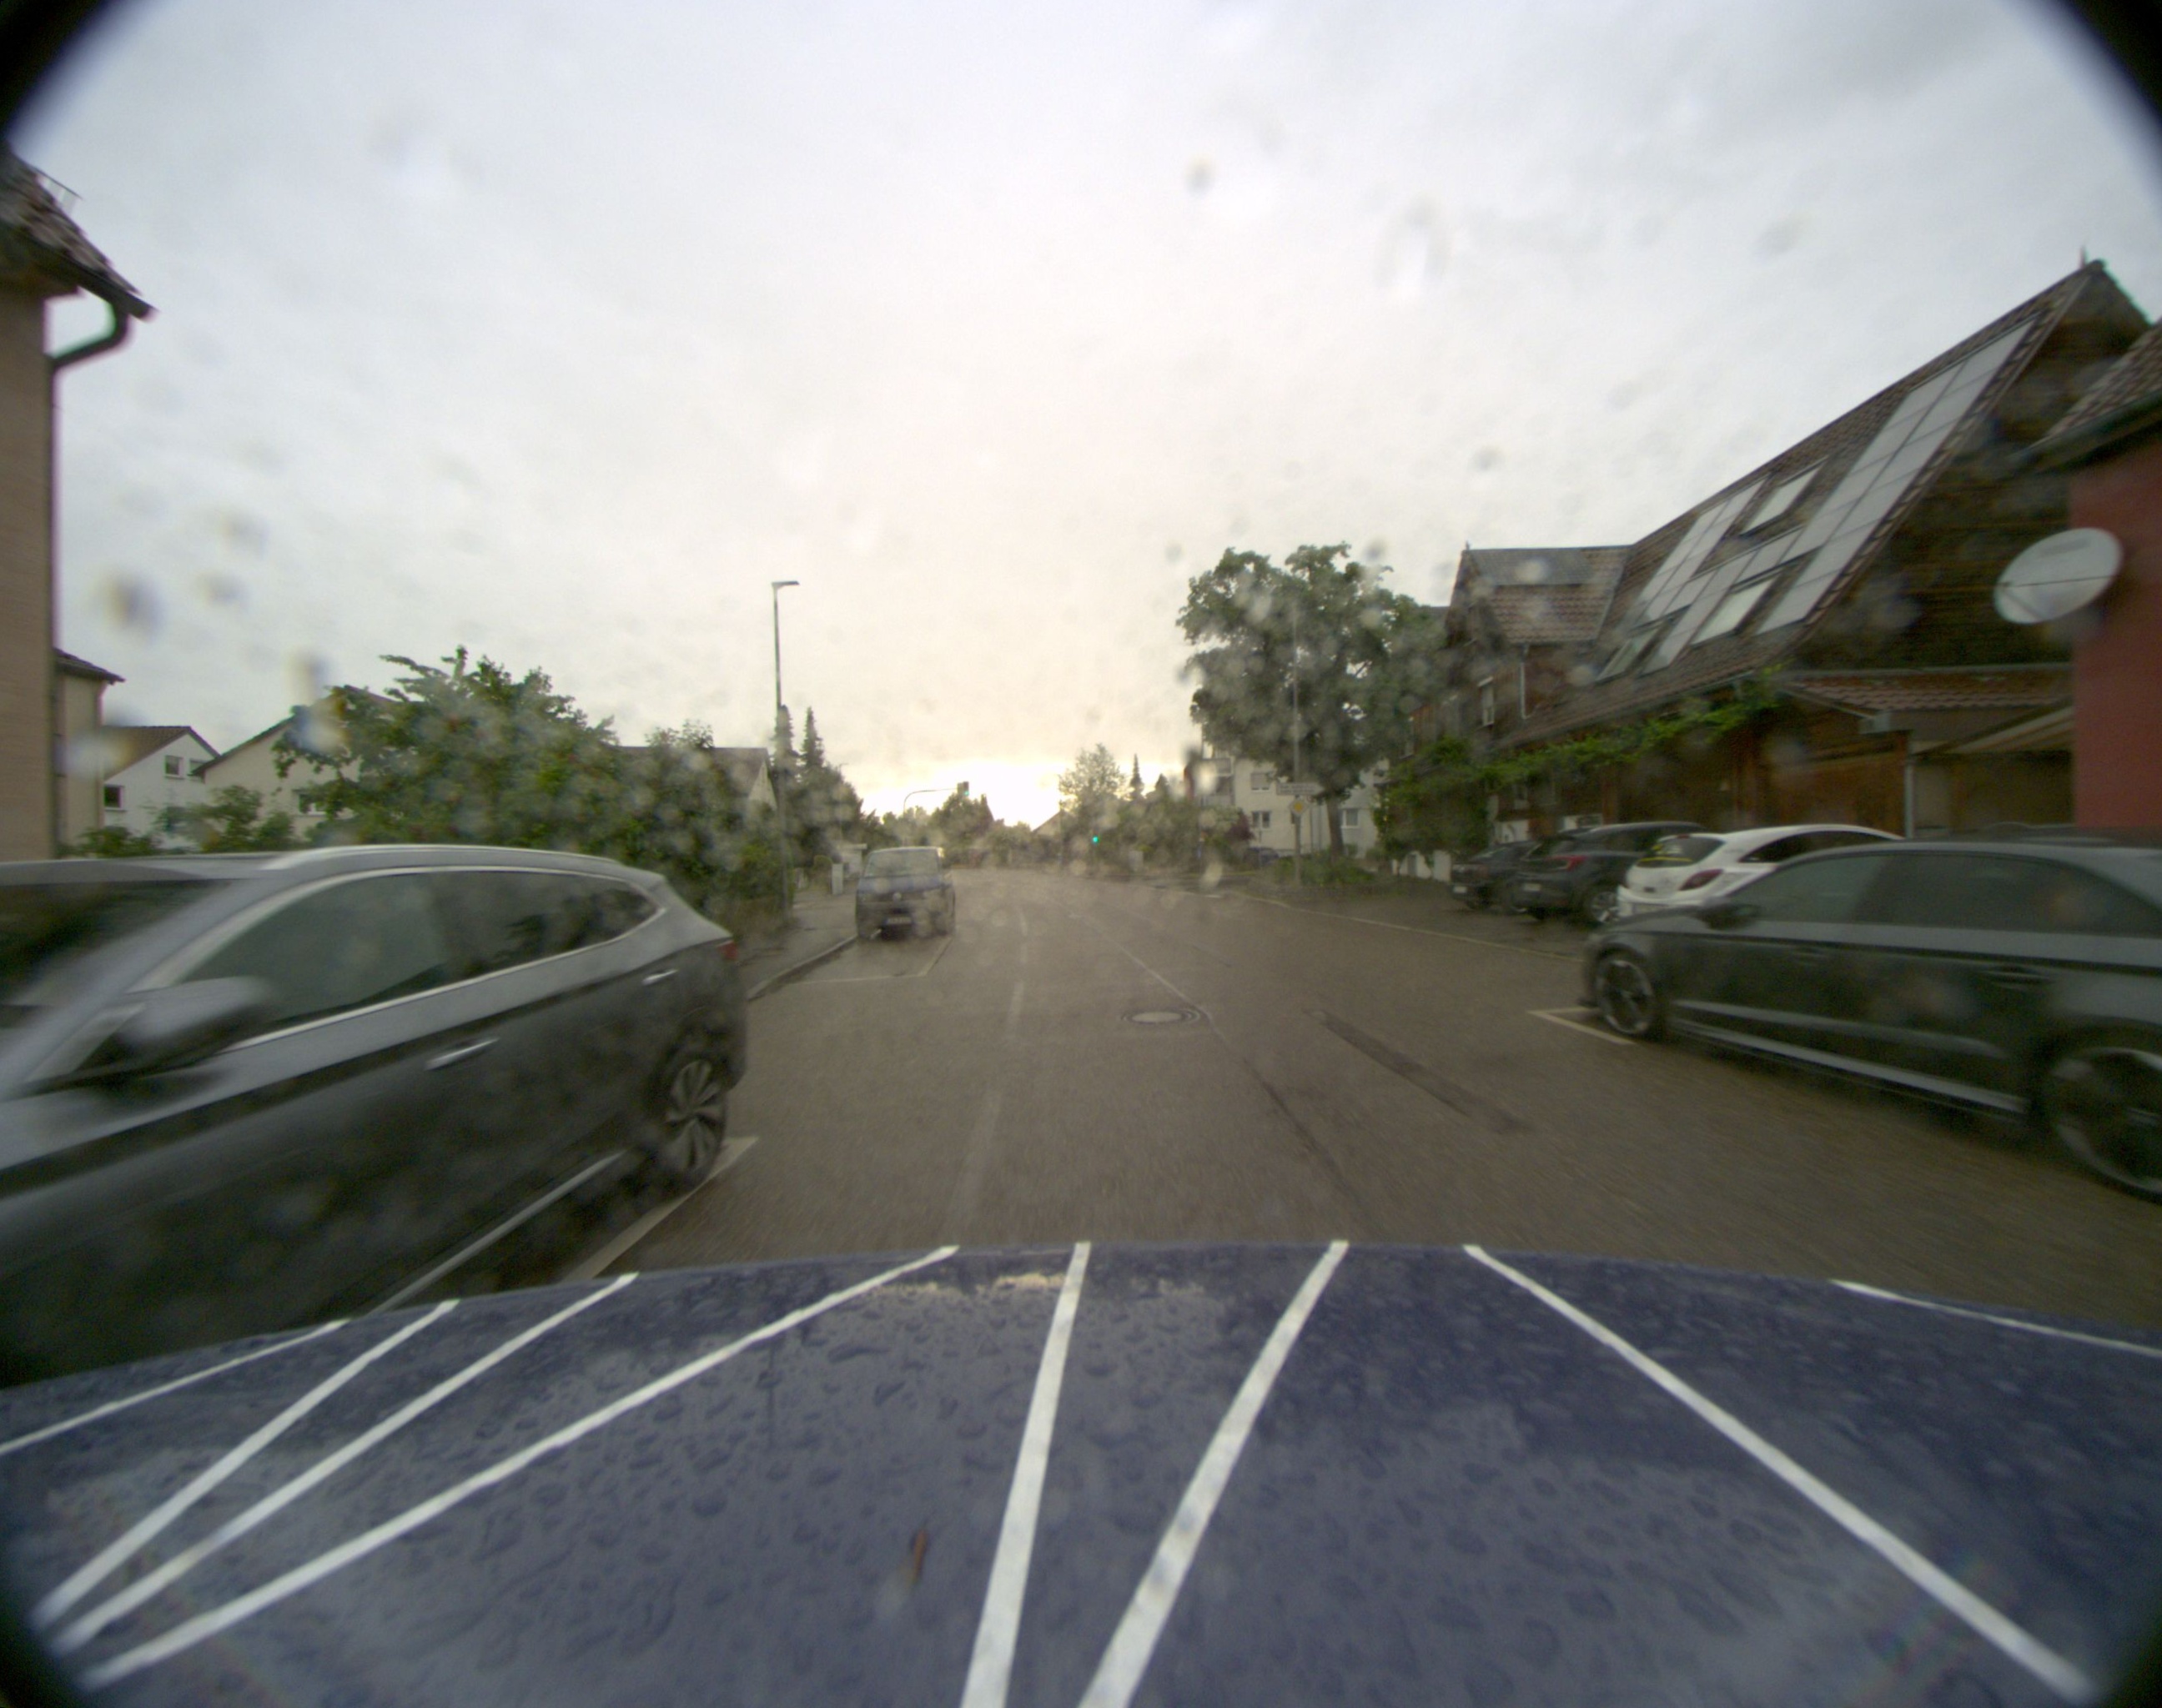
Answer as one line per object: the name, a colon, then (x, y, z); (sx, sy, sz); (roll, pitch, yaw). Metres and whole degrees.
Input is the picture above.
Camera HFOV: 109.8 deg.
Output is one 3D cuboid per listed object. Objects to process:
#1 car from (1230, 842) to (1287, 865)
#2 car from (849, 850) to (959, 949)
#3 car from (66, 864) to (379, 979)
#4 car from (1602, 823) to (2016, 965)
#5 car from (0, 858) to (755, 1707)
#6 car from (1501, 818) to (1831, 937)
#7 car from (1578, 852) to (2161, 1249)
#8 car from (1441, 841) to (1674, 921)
car: (11.630, -0.017, 49.912); (1.780, 1.413, 3.619); (-1, 1, -24)
car: (-3.937, 0.905, 17.671); (1.937, 1.891, 4.790); (-3, 1, -8)
car: (-18.810, 1.314, 17.145); (1.952, 2.071, 5.180); (-3, 0, -13)
car: (8.724, 0.456, 9.343); (3.469, 1.470, 1.591); (-2, 0, 2)
car: (-2.839, 0.948, 1.999); (1.913, 1.707, 4.555); (-3, 0, 0)
car: (8.877, 0.339, 11.824); (3.583, 1.497, 1.856); (-4, 0, 4)
car: (4.709, 0.718, 3.811); (1.631, 1.348, 4.110); (-3, 0, -1)
car: (9.050, 0.489, 14.649); (3.454, 1.410, 1.633); (-1, 1, 2)
